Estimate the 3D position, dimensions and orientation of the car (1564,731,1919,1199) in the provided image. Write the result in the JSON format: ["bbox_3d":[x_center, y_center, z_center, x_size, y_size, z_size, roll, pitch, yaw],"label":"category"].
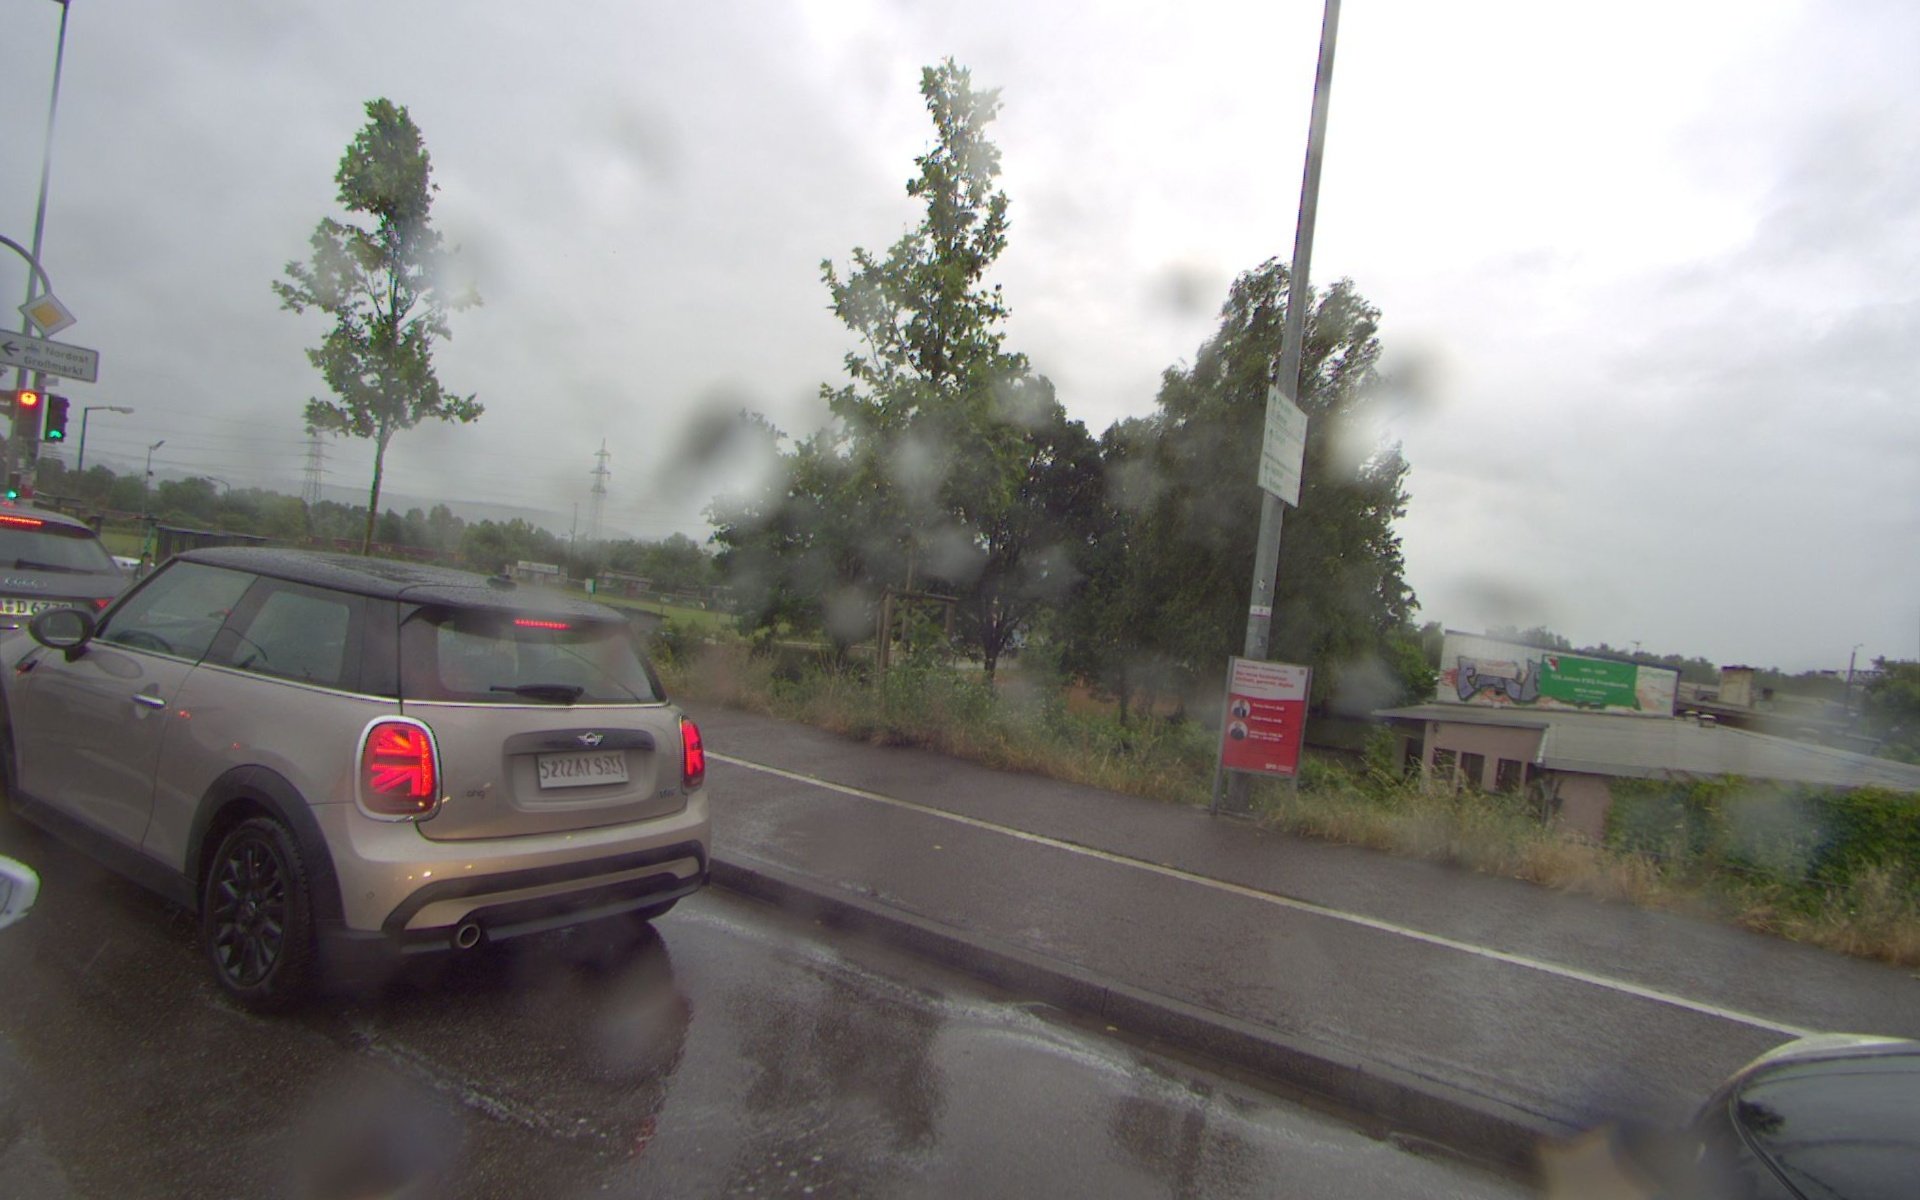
[{"bbox_3d":[2.791,1.178,1.057,3.563,1.445,1.632,7,-1,31],"label":"car"}]

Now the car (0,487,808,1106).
[{"bbox_3d":[-2.668,0.491,4.331,3.563,1.525,1.717,7,-2,31],"label":"car"}]

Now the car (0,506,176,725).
[{"bbox_3d":[-7.483,-0.061,7.228,3.563,1.360,1.632,6,-2,31],"label":"car"}]

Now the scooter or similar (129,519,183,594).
[{"bbox_3d":[-13.601,-0.749,17.004,1.167,1.171,0.246,6,-1,33],"label":"scooter or similar"}]
